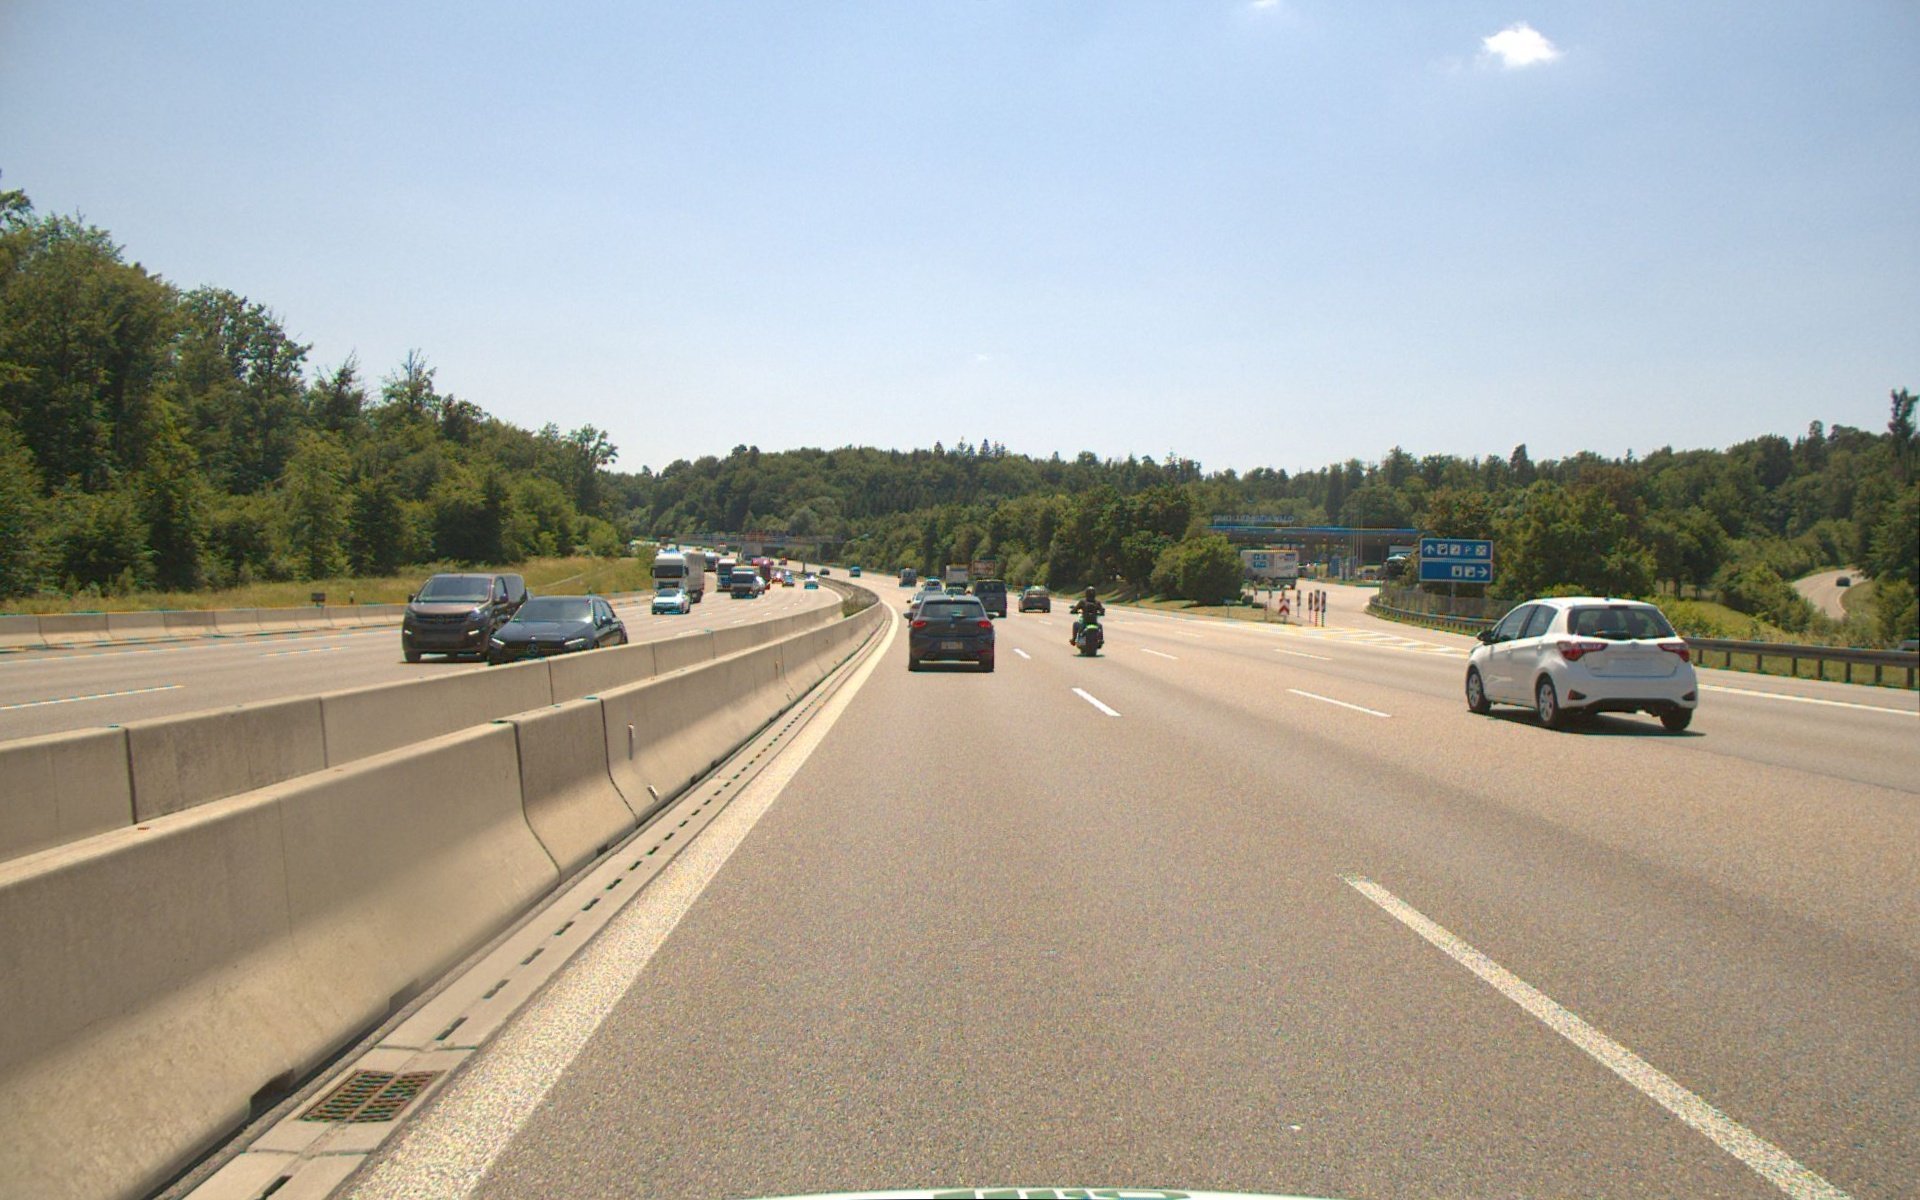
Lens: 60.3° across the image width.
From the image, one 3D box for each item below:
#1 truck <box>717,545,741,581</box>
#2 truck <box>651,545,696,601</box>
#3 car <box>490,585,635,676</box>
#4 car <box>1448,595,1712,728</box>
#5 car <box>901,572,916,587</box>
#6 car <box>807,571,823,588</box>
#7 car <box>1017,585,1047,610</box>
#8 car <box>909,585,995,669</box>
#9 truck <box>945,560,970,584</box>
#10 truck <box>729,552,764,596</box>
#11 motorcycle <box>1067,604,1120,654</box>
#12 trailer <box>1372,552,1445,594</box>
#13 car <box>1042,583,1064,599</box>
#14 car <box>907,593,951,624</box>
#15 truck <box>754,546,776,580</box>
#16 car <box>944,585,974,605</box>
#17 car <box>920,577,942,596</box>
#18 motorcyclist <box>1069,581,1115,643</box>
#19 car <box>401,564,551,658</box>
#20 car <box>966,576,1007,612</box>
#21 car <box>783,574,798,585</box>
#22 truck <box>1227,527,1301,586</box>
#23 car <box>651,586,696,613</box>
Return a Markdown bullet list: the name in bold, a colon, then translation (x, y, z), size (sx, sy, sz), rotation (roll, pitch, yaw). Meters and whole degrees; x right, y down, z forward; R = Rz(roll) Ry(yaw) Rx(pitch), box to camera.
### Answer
- **truck**: translation (-28.588, -4.638, 204.894), size (2.452, 4.426, 6.601), rotation (0, 2, -4)
- **truck**: translation (-22.348, -2.061, 129.186), size (2.628, 4.250, 6.229), rotation (0, 1, -2)
- **car**: translation (-6.967, 0.498, 29.403), size (1.569, 1.494, 4.504), rotation (0, 0, -1)
- **car**: translation (7.502, 0.676, 20.486), size (1.632, 1.458, 4.375), rotation (0, 0, 0)
- **car**: translation (-7.466, -3.025, 239.867), size (1.954, 2.048, 4.672), rotation (3, 1, -4)
- **car**: translation (-19.930, -2.832, 227.666), size (1.954, 2.328, 5.762), rotation (0, 1, -3)
- **car**: translation (4.470, -0.158, 102.930), size (1.641, 1.456, 3.685), rotation (2, 0, 0)
- **car**: translation (-0.124, 0.488, 33.041), size (1.591, 1.513, 3.686), rotation (1, 1, 1)
- **truck**: translation (-0.336, -3.622, 210.102), size (2.673, 2.834, 5.679), rotation (3, 1, -4)
- **truck**: translation (-20.972, -2.535, 163.006), size (2.480, 4.250, 9.617), rotation (0, 1, -1)
- **motorcycle**: translation (3.215, 0.683, 40.084), size (0.958, 1.149, 2.269), rotation (1, 0, -4)
- **trailer**: translation (43.118, -2.697, 158.621), size (3.101, 3.700, 13.589), rotation (1, 2, 32)
- **car**: translation (7.611, -0.736, 135.848), size (1.576, 1.233, 3.459), rotation (0, 0, -1)
- **car**: translation (-1.329, 0.348, 70.251), size (1.747, 1.287, 3.458), rotation (0, 0, -3)
- **truck**: translation (-25.978, -4.903, 220.599), size (2.451, 4.427, 6.601), rotation (1, 1, -4)
- **car**: translation (-0.092, -0.390, 120.118), size (1.806, 1.243, 4.222), rotation (3, 1, -4)
- **car**: translation (-2.906, -1.379, 166.824), size (1.954, 1.713, 4.421), rotation (3, 1, -4)
- **motorcyclist**: translation (3.196, 0.289, 40.045), size (0.943, 1.462, 1.234), rotation (0, 1, -4)
- **car**: translation (-10.905, 0.227, 37.719), size (1.834, 1.974, 5.773), rotation (0, 0, -1)
- **car**: translation (1.444, -0.336, 90.010), size (2.054, 1.884, 4.080), rotation (0, 0, -2)
- **car**: translation (-24.552, -2.988, 239.918), size (1.954, 1.575, 4.879), rotation (0, 1, -3)
- **truck**: translation (34.201, -4.816, 187.030), size (5.396, 6.375, 15.428), rotation (0, 0, -1)
- **car**: translation (-16.561, -0.040, 95.700), size (1.834, 1.506, 4.812), rotation (1, 0, -1)
